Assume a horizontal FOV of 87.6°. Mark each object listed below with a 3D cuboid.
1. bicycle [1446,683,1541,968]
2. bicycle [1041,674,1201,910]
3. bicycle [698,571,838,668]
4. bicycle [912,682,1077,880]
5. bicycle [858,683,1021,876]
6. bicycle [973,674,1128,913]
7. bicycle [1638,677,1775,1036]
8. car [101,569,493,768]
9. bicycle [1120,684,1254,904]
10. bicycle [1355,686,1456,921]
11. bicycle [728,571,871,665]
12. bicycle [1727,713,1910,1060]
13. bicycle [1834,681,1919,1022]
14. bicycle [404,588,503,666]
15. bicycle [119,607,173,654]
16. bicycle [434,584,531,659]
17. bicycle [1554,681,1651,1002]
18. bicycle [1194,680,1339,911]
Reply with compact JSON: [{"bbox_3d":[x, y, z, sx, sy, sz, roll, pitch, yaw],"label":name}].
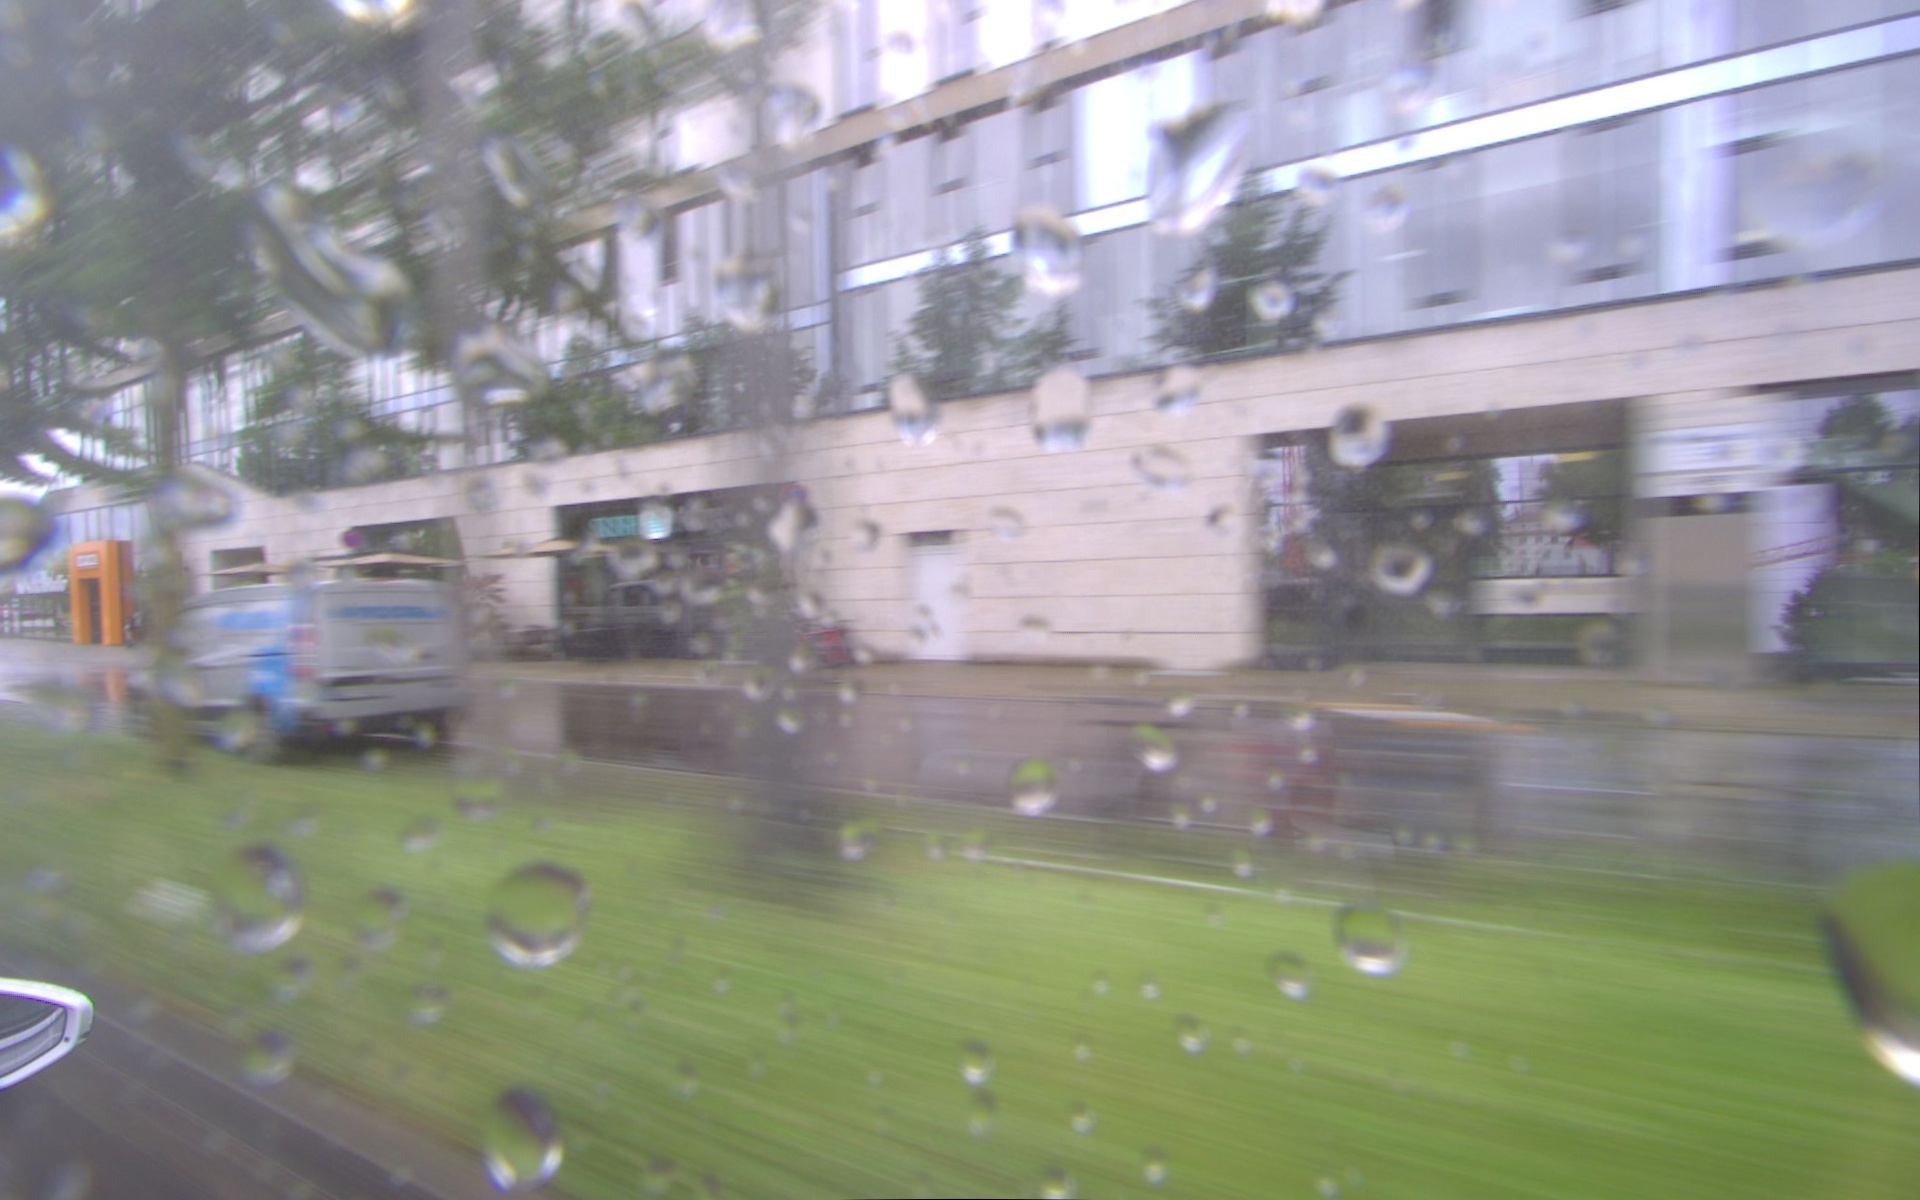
[{"bbox_3d":[2.194,0.831,4.076,0.271,0.861,1.285,0,1,31],"label":"bicycle"},{"bbox_3d":[0.899,0.939,5.327,0.306,0.992,1.457,-1,0,31],"label":"bicycle"},{"bbox_3d":[-3.768,0.324,19.445,3.074,1.746,0.643,2,3,32],"label":"bicycle"},{"bbox_3d":[0.228,0.930,5.493,0.306,0.860,1.286,-1,0,31],"label":"bicycle"},{"bbox_3d":[-0.076,0.963,5.698,0.271,0.860,1.286,0,1,31],"label":"bicycle"},{"bbox_3d":[0.518,0.956,5.328,0.271,1.009,1.285,0,2,31],"label":"bicycle"},{"bbox_3d":[2.695,0.831,3.673,0.271,1.002,1.286,-1,0,31],"label":"bicycle"},{"bbox_3d":[-7.487,0.631,11.188,4.621,1.815,1.901,-1,1,32],"label":"car"},{"bbox_3d":[1.185,0.917,5.082,0.271,0.860,1.286,0,1,31],"label":"bicycle"},{"bbox_3d":[2.125,0.887,4.719,0.271,0.860,1.286,-1,0,31],"label":"bicycle"},{"bbox_3d":[-3.254,0.311,20.045,3.074,1.746,0.770,2,3,32],"label":"bicycle"},{"bbox_3d":[2.942,0.894,3.498,0.271,0.860,1.286,-1,0,31],"label":"bicycle"},{"bbox_3d":[3.260,0.799,3.358,0.271,0.931,1.285,0,1,31],"label":"bicycle"},{"bbox_3d":[-12.380,0.609,24.416,3.074,1.746,0.643,2,3,32],"label":"bicycle"},{"bbox_3d":[-29.712,1.086,36.534,2.724,1.556,0.664,2,3,33],"label":"bicycle"},{"bbox_3d":[-11.964,0.502,25.035,3.074,1.746,0.643,2,3,32],"label":"bicycle"},{"bbox_3d":[2.479,0.840,3.902,0.271,0.923,1.322,0,1,31],"label":"bicycle"},{"bbox_3d":[1.579,0.892,5.017,0.306,0.860,1.592,-1,0,31],"label":"bicycle"}]
